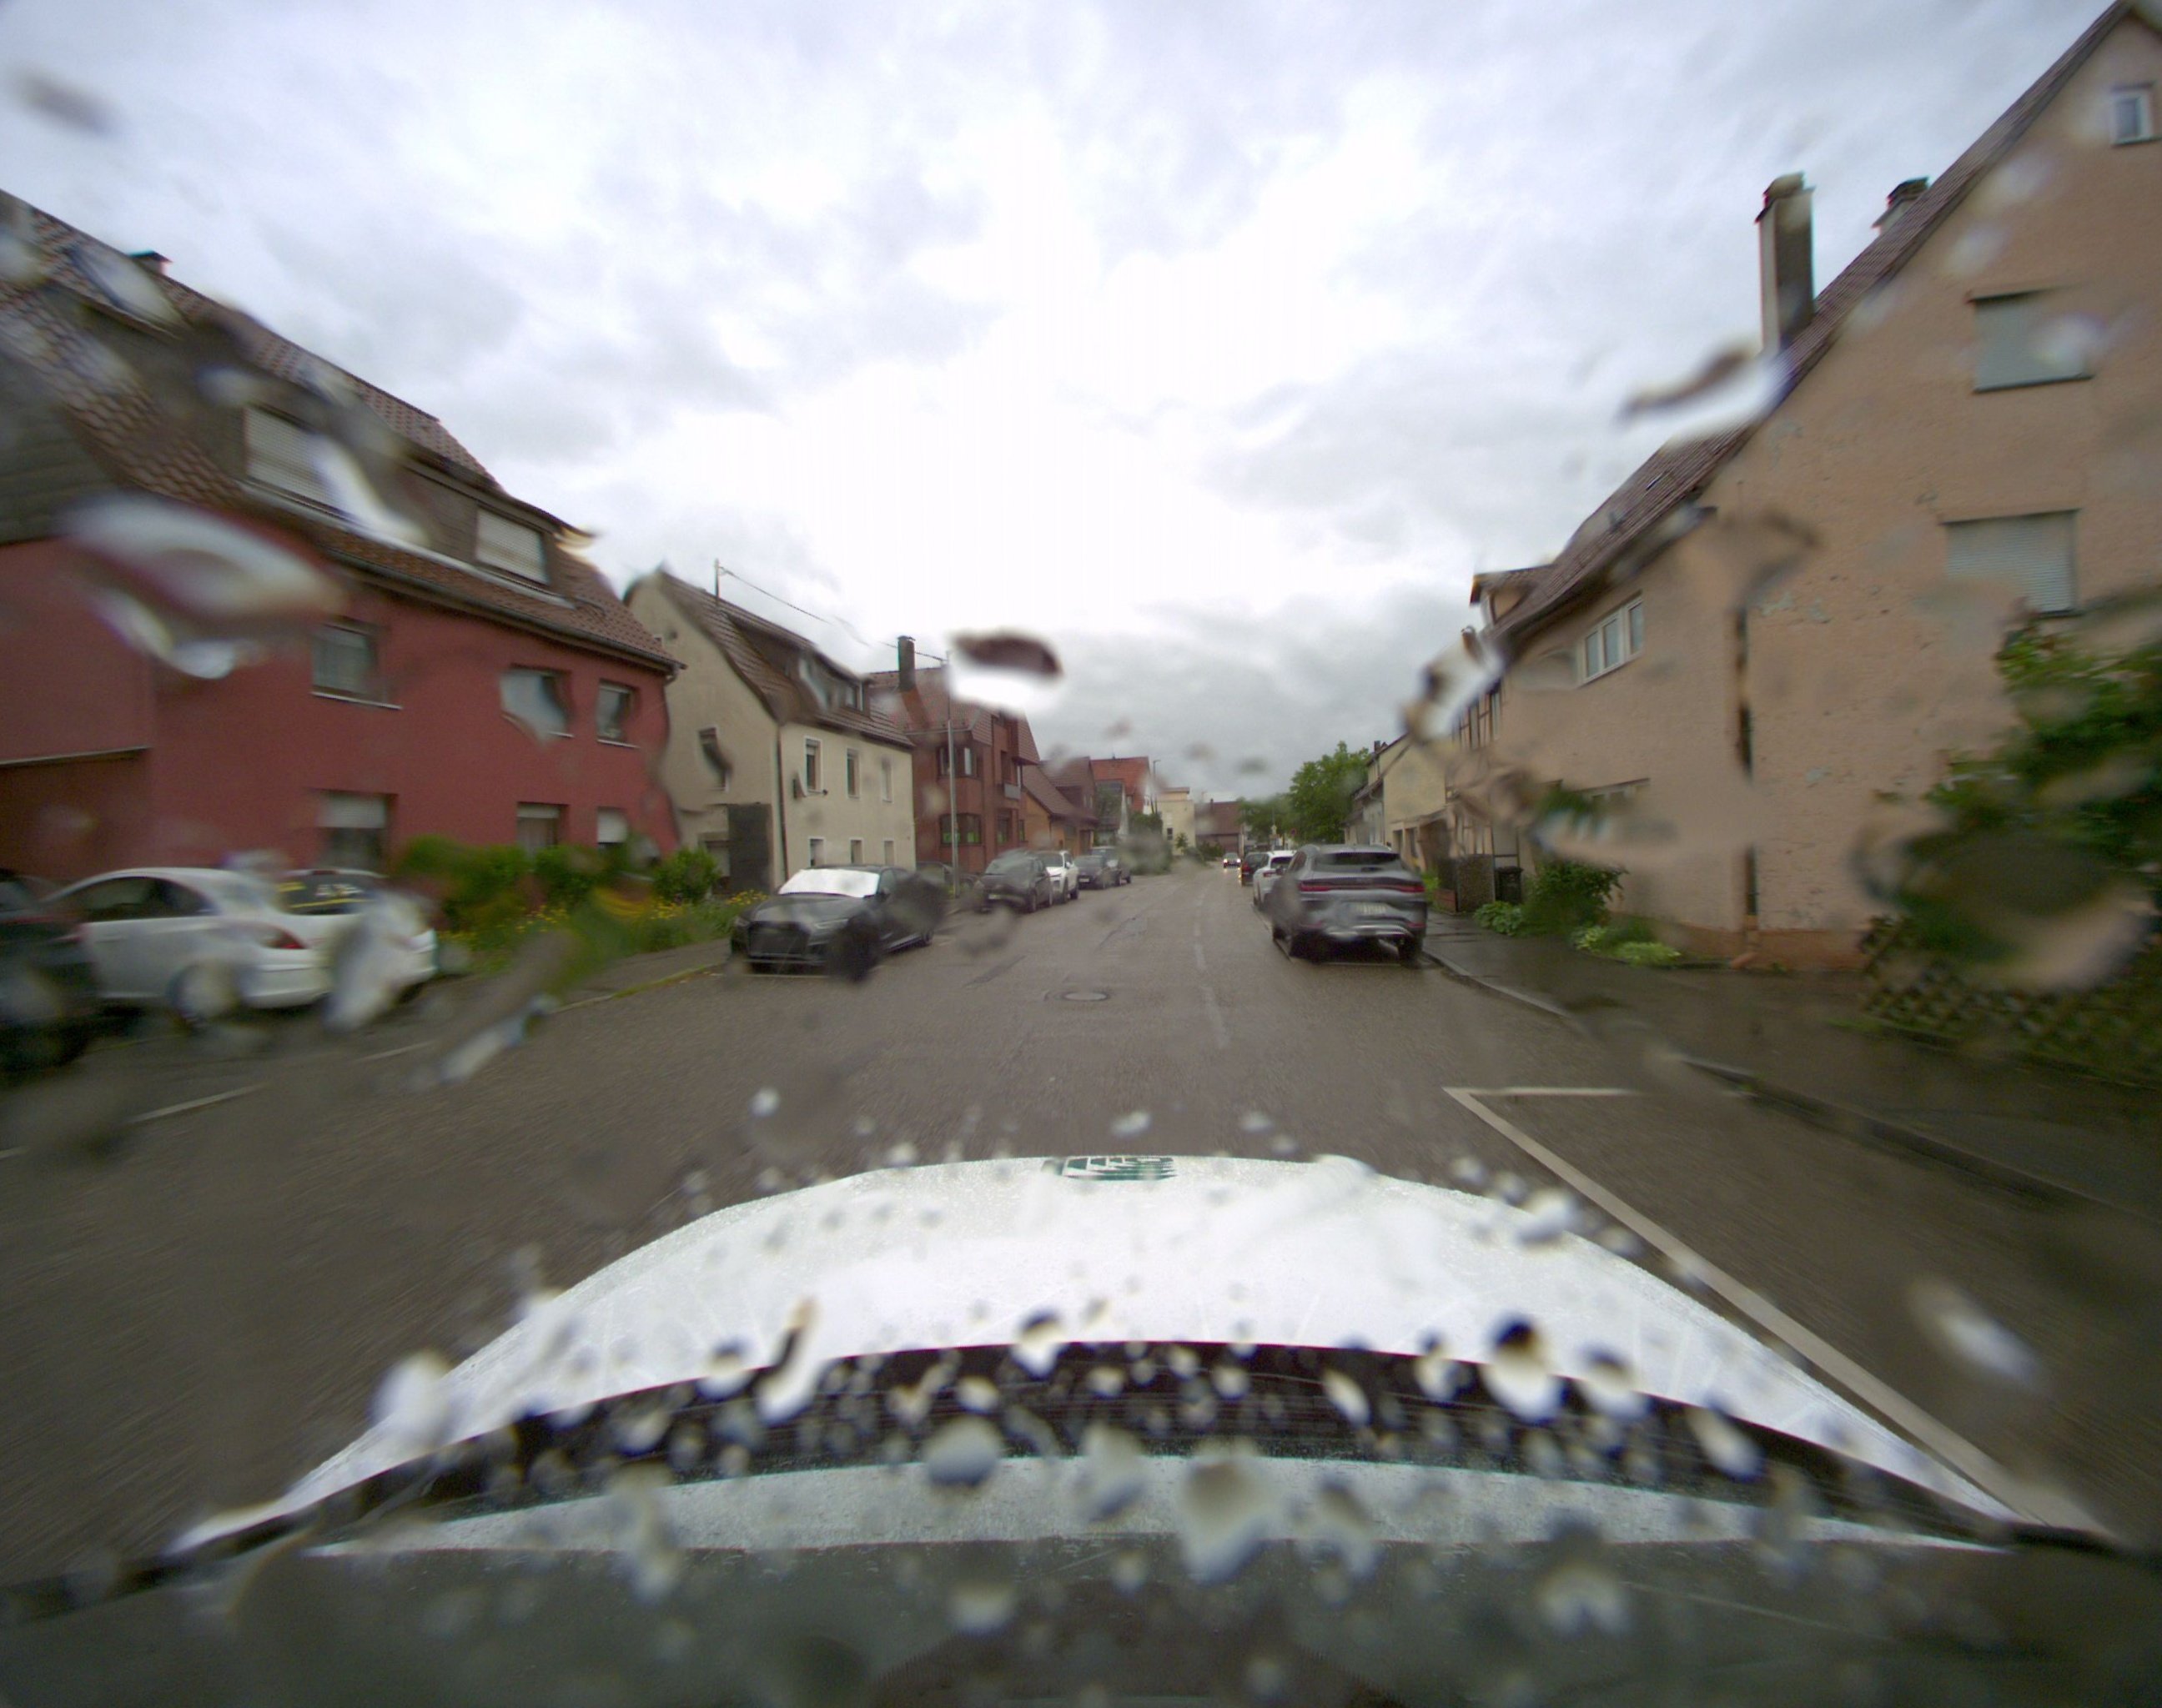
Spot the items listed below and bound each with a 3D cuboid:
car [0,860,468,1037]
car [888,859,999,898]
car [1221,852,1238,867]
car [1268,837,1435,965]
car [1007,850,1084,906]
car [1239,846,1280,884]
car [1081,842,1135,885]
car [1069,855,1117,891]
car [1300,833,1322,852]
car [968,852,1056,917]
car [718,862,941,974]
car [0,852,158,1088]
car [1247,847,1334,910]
[{"bbox_3d":[-8.177,0.804,7.930,3.439,1.479,1.595,0,0,10],"label":"car"},{"bbox_3d":[-5.706,1.014,33.896,4.140,1.403,1.796,-3,-1,15],"label":"car"},{"bbox_3d":[16.634,0.639,91.115,1.786,1.640,4.013,0,0,12],"label":"car"},{"bbox_3d":[4.170,0.637,13.307,1.897,1.717,4.567,0,0,9],"label":"car"},{"bbox_3d":[-1.067,0.746,26.927,1.755,1.619,4.665,-2,-1,7],"label":"car"},{"bbox_3d":[8.669,0.514,39.871,1.739,1.710,4.011,-2,-1,10],"label":"car"},{"bbox_3d":[1.463,0.466,41.477,1.809,2.014,5.231,-2,-1,11],"label":"car"},{"bbox_3d":[0.578,0.810,36.648,1.569,1.497,3.576,-2,-1,9],"label":"car"},{"bbox_3d":[18.639,-0.889,66.106,1.626,1.430,3.691,-2,-1,15],"label":"car"},{"bbox_3d":[-1.825,0.799,22.440,1.595,1.617,3.285,-2,-1,9],"label":"car"},{"bbox_3d":[-3.529,0.821,12.294,1.617,1.356,4.119,0,0,8],"label":"car"},{"bbox_3d":[-8.712,0.734,5.423,3.551,1.506,1.862,1,0,12],"label":"car"},{"bbox_3d":[5.817,0.656,23.109,1.793,1.595,4.620,-1,-1,7],"label":"car"}]
